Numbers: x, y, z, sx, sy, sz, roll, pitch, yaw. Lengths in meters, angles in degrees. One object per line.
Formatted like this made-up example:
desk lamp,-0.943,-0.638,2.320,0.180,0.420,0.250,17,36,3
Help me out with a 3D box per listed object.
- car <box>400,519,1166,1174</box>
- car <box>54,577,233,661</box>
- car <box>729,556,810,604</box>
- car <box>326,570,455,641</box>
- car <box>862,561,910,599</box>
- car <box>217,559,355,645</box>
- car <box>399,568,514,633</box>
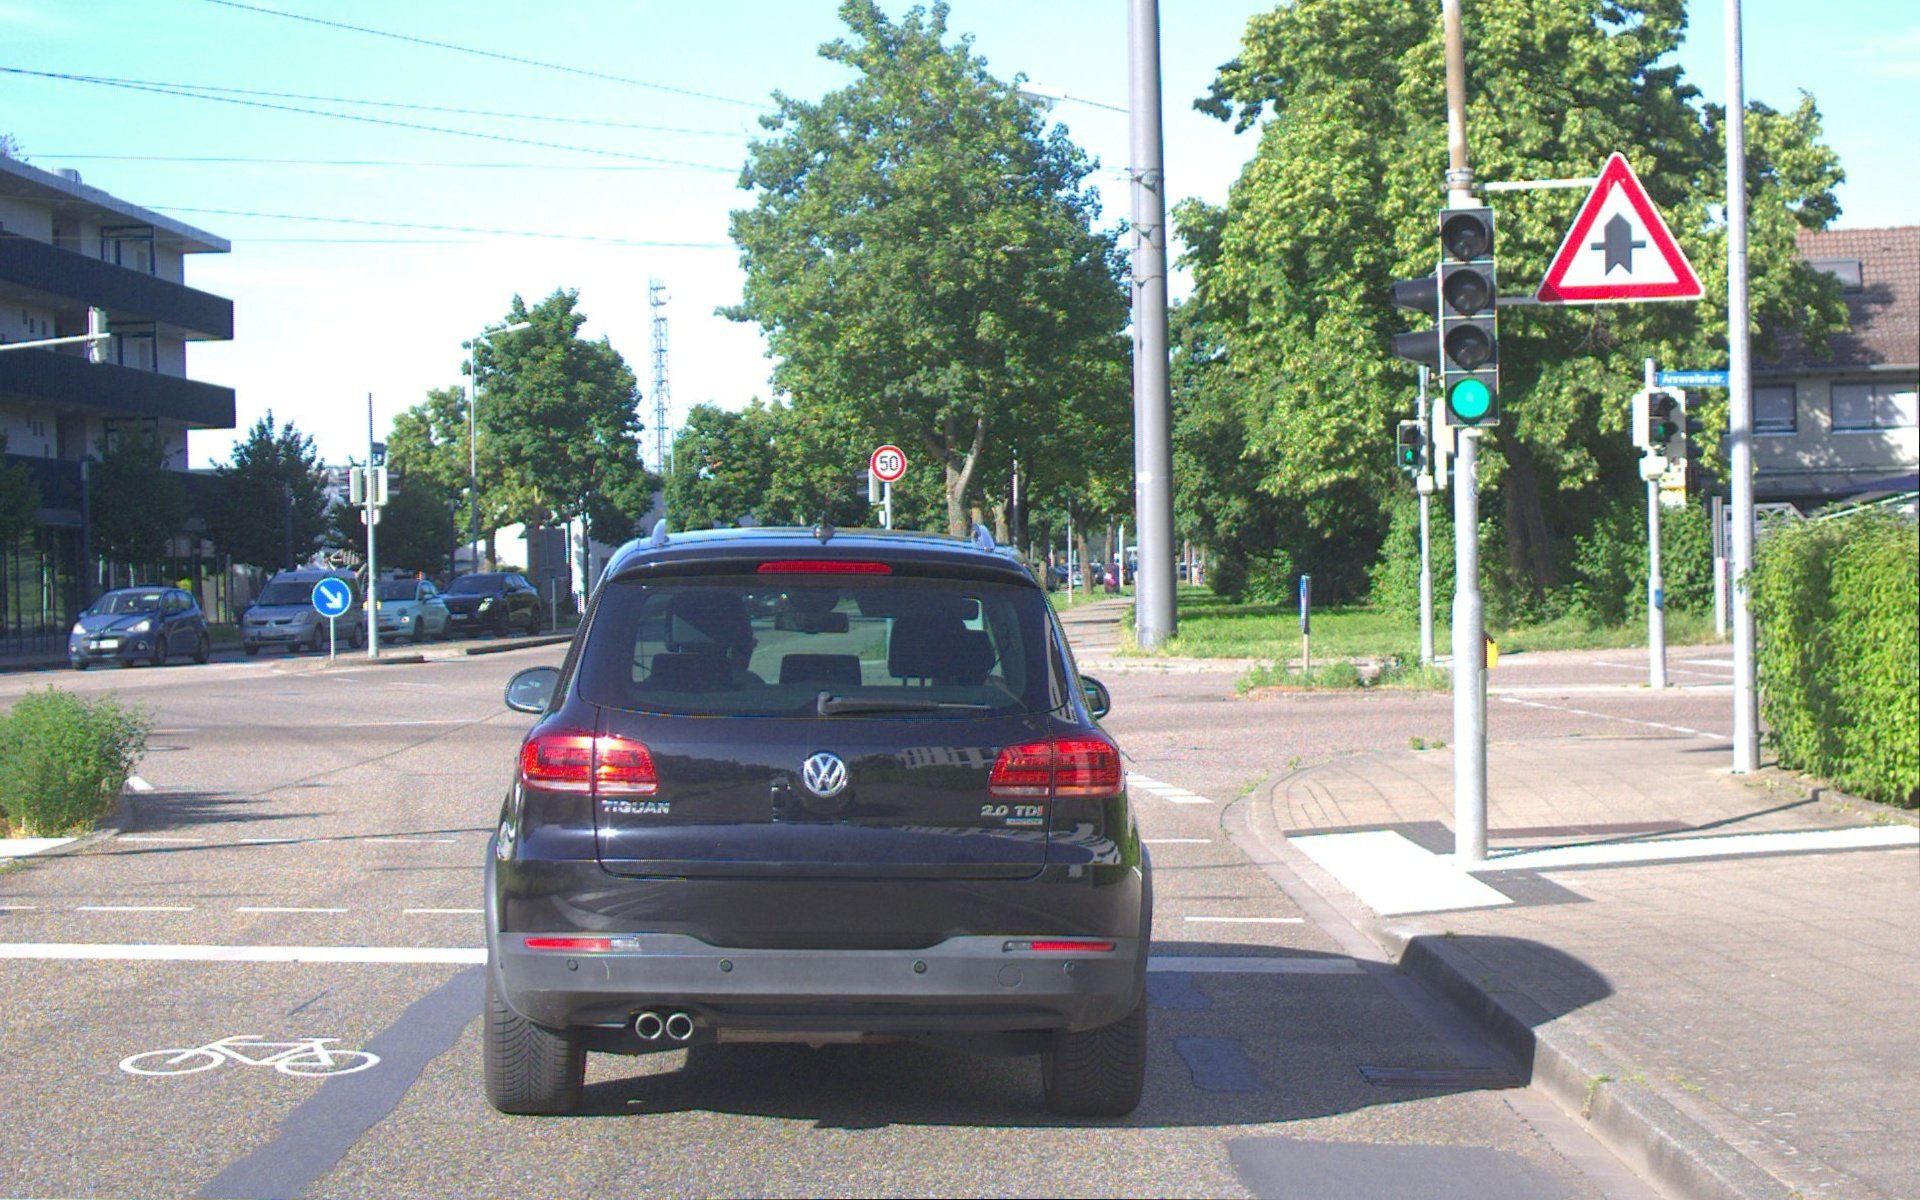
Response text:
car,-0.495,0.611,11.048,1.929,1.649,4.514,1,0,-1
car,-15.228,0.328,64.332,1.696,1.451,4.451,-1,1,8
car,-6.526,-0.705,118.342,1.994,1.566,3.999,-2,1,8
car,-13.303,0.108,80.534,1.994,1.482,3.543,-3,1,7
car,-3.564,-0.991,166.556,1.994,1.731,5.199,-2,1,2
car,-14.481,0.024,74.083,1.993,1.749,4.362,-1,1,1
car,-12.653,-0.005,86.672,1.967,1.529,4.740,-1,1,2
